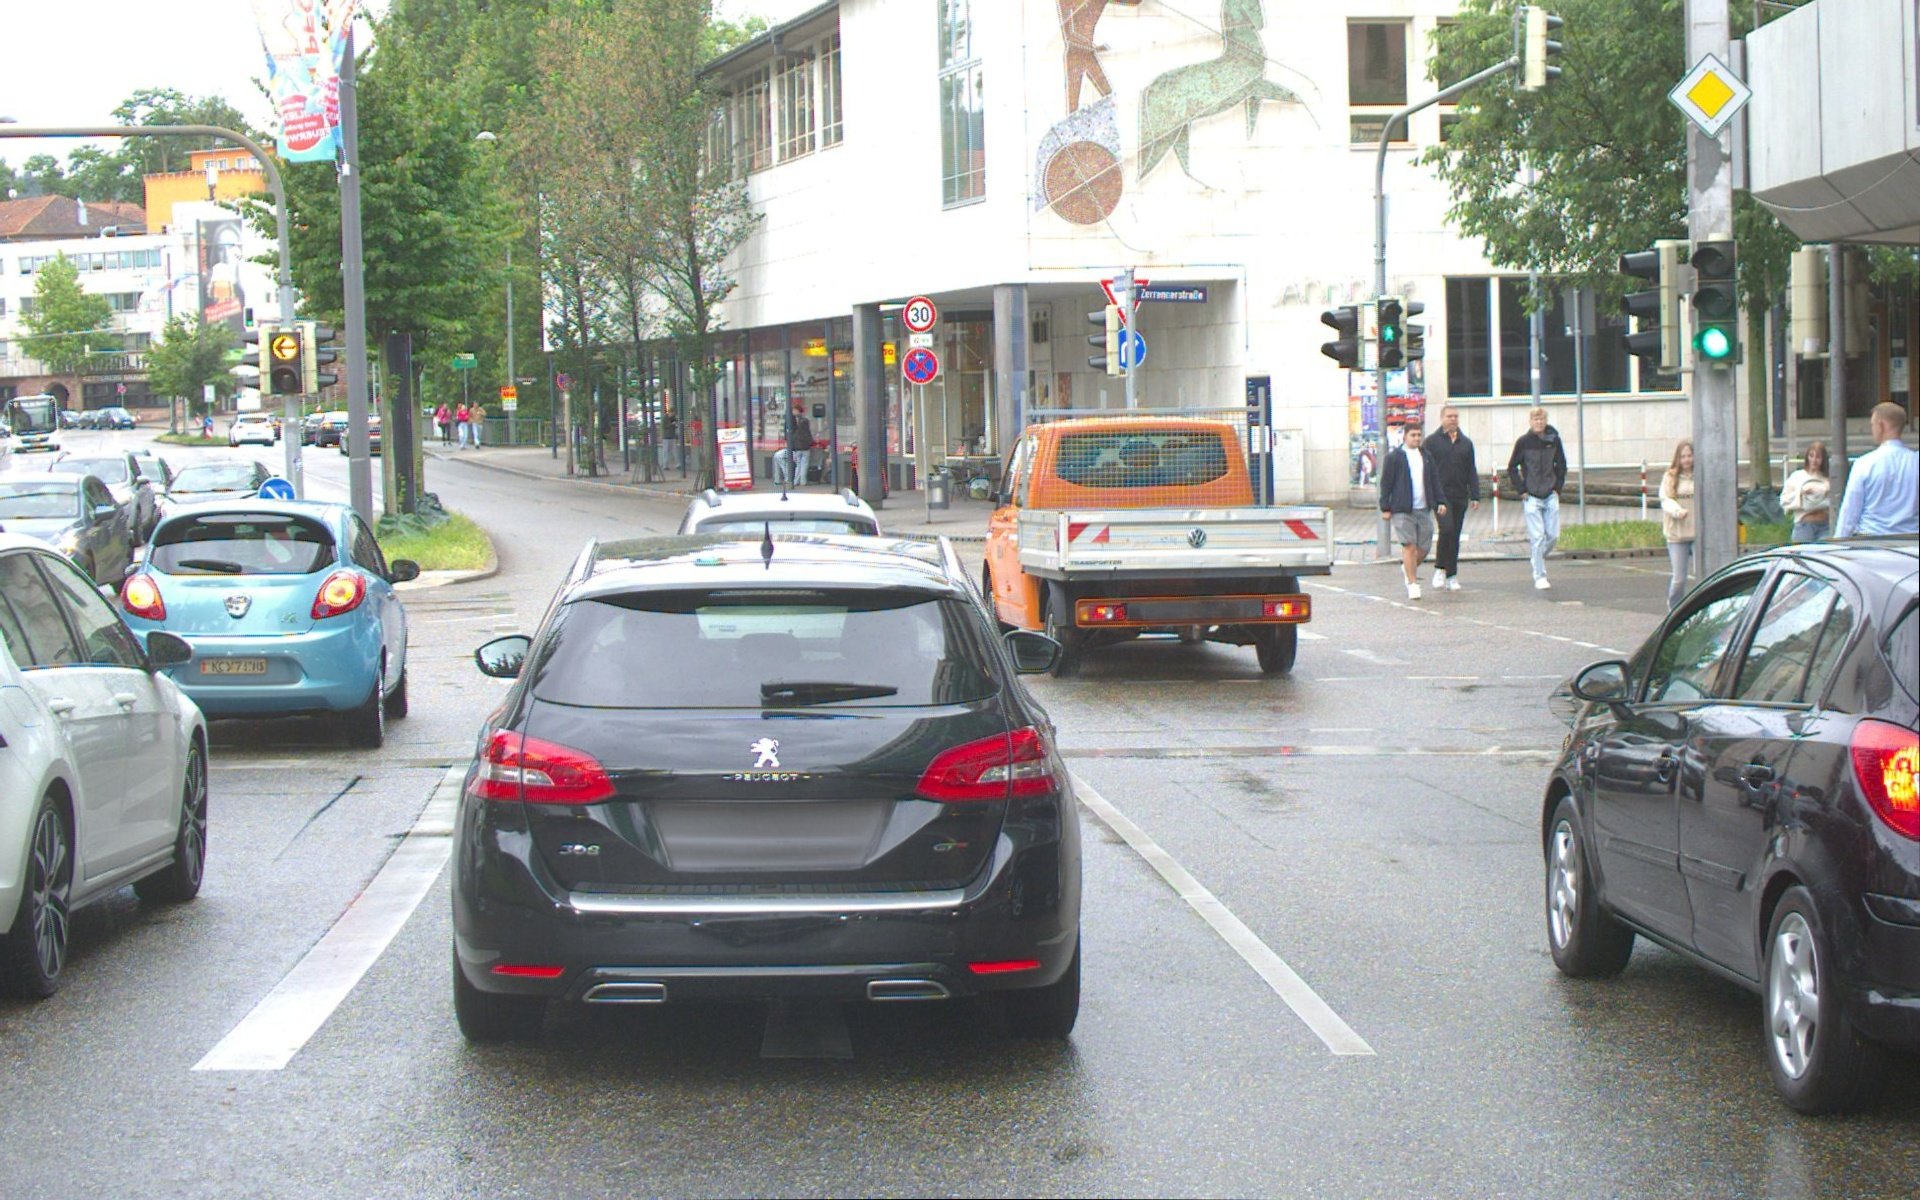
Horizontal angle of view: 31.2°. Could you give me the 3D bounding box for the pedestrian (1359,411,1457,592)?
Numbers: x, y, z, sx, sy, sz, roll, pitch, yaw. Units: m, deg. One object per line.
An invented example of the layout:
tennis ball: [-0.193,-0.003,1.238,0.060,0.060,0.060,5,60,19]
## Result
pedestrian: [4.505,-0.988,34.600,0.748,1.773,0.888,-2,2,-6]

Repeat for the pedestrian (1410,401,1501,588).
pedestrian: [5.129,-1.091,35.642,0.758,1.895,0.790,-2,1,-3]

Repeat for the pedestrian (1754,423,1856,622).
pedestrian: [7.466,-0.700,30.401,0.588,1.700,0.971,-3,3,0]

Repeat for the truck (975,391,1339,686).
truck: [1.414,-0.540,26.694,2.121,2.018,4.717,-2,3,-5]

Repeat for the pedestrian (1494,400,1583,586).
pedestrian: [5.984,-1.103,35.575,0.732,1.889,0.676,-2,1,-3]

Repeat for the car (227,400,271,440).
car: [-30.931,-7.817,149.457,1.644,1.559,3.601,1,1,-15]

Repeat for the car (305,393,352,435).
car: [-26.175,-7.680,142.396,1.644,1.559,3.601,1,1,-15]

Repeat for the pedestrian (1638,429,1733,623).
pedestrian: [6.404,-0.667,30.384,0.574,1.657,0.940,-3,3,0]

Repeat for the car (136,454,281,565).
car: [-11.449,-1.414,52.554,1.622,1.550,3.661,-2,3,-4]

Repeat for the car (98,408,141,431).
car: [-61.335,-13.159,250.934,1.645,1.559,3.599,0,1,-39]

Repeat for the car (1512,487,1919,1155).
car: [2.808,0.448,9.787,1.708,1.452,3.743,0,3,-3]

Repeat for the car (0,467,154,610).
car: [-10.341,-0.704,38.729,1.713,1.473,3.958,-3,2,-3]

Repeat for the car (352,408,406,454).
car: [-21.519,-6.250,127.234,1.644,1.559,3.601,1,1,-15]

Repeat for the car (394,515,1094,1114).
car: [-0.578,0.505,10.851,1.795,1.478,4.001,0,2,-1]

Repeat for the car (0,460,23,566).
car: [-14.690,-1.190,49.137,1.672,1.510,3.644,-3,3,-3]

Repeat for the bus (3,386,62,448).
bus: [-51.837,-10.256,191.954,2.743,3.064,12.243,-2,5,-17]

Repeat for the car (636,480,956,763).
car: [-1.093,0.053,21.718,1.794,1.478,4.001,-2,3,-4]

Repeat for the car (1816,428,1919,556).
car: [12.430,-1.331,40.379,4.258,1.415,1.788,-2,3,-15]

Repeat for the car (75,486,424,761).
car: [-4.371,0.074,21.630,1.695,1.469,3.691,-1,3,-5]

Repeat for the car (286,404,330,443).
car: [-29.027,-7.825,152.937,1.644,1.559,3.601,1,1,-15]

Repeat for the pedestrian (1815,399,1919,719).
pedestrian: [5.447,-0.244,20.272,0.622,1.840,0.847,-1,1,4]

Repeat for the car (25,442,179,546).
car: [-15.180,-1.908,61.018,1.827,1.730,4.312,-2,2,-4]

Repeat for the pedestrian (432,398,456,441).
pedestrian: [-19.737,-6.918,131.522,0.717,1.614,0.770,-4,4,-15]

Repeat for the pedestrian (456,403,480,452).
pedestrian: [-18.010,-6.317,125.801,0.653,1.761,0.923,-4,4,-15]

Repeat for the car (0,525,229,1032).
car: [-3.731,0.465,11.794,1.765,1.404,4.001,1,2,-3]
